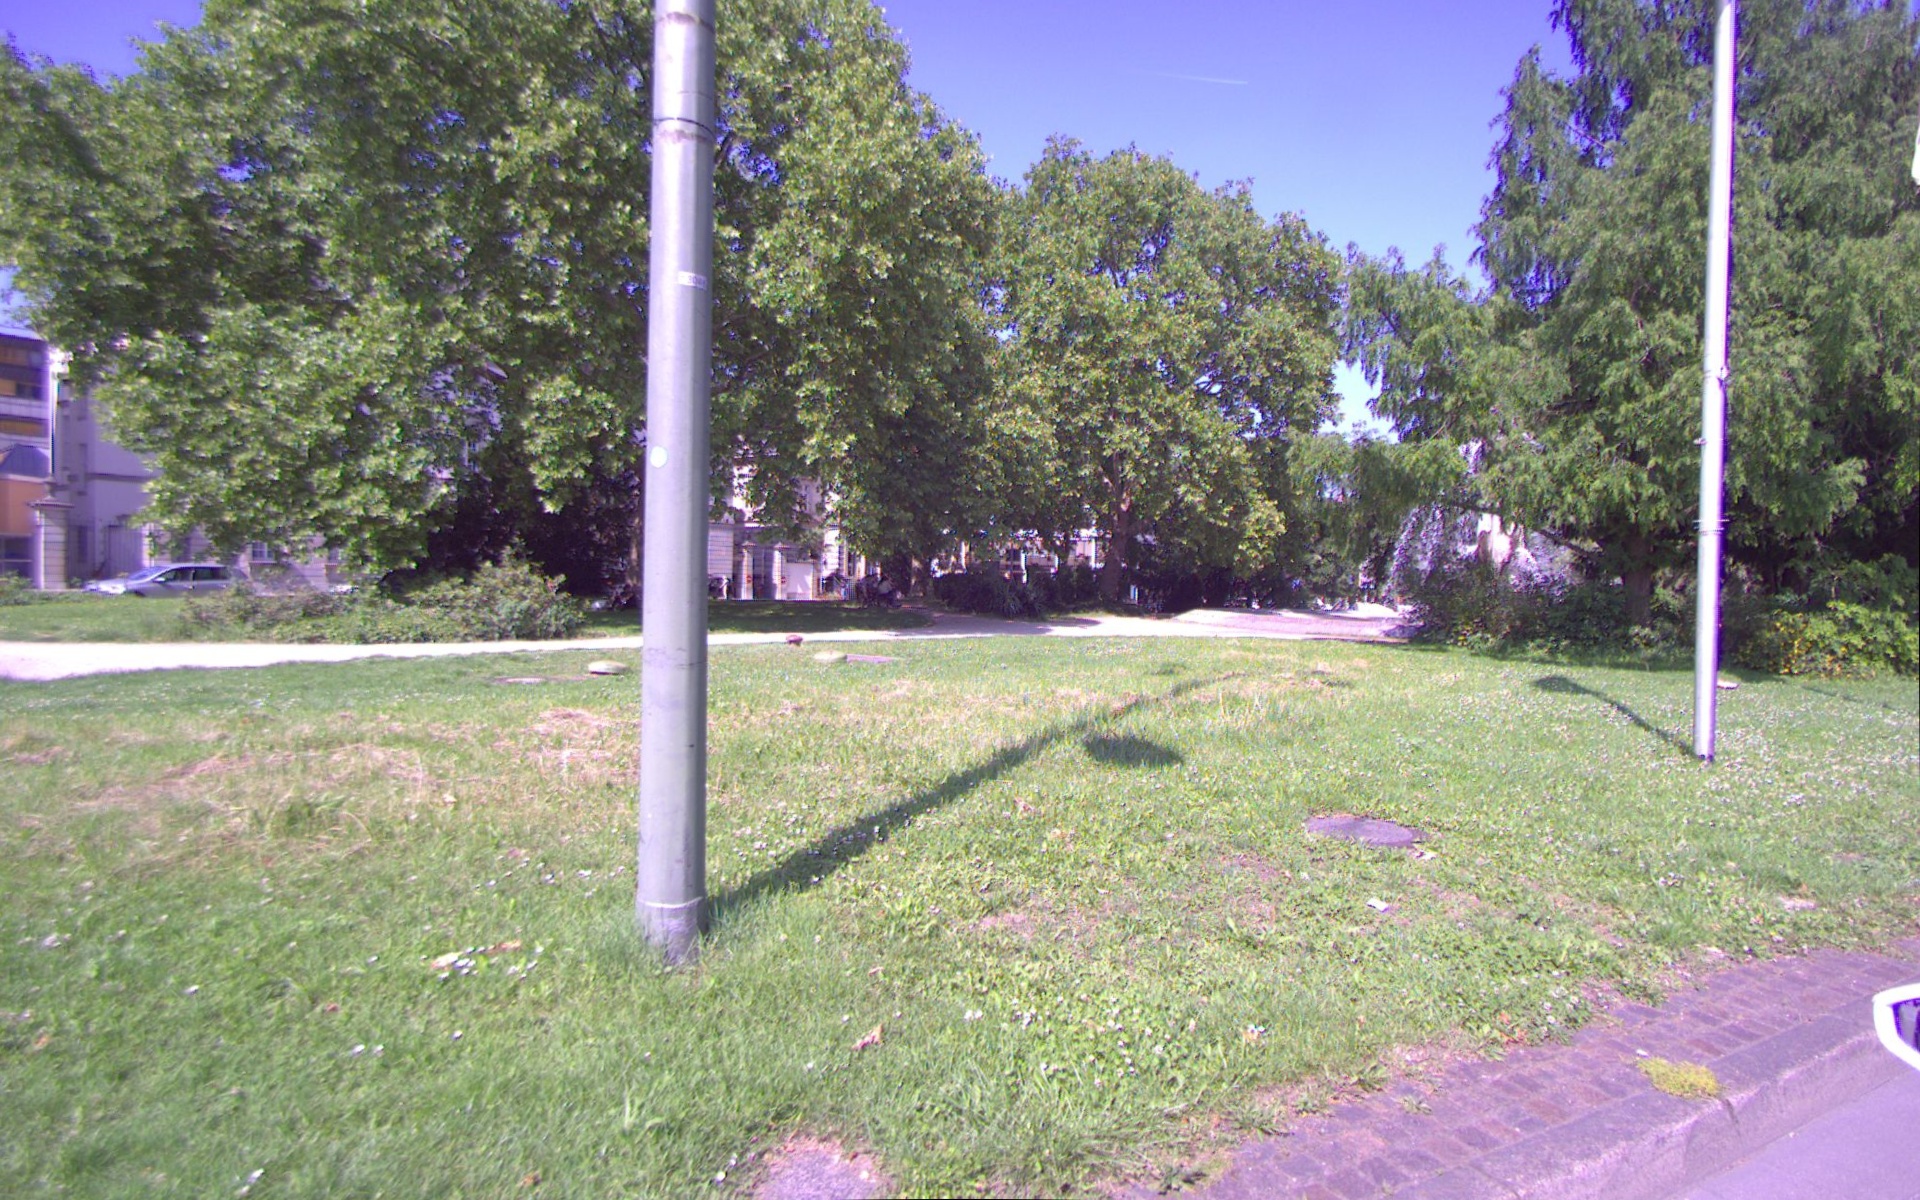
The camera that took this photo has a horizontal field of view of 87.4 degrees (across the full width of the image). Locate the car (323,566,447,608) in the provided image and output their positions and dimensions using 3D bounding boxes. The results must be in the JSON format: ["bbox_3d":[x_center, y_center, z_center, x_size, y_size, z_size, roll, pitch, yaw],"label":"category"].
[{"bbox_3d":[-20.777,-0.450,36.411,1.584,1.398,3.576,3,2,32],"label":"car"}]

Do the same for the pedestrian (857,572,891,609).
[{"bbox_3d":[-3.043,-0.338,35.366,1.041,1.242,0.753,2,2,-17],"label":"pedestrian"}]

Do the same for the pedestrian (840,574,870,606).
[{"bbox_3d":[-4.177,-0.396,39.903,1.041,1.242,0.753,2,2,-17],"label":"pedestrian"}]

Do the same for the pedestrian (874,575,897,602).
[{"bbox_3d":[-3.560,-0.535,48.029,1.037,1.242,0.756,2,2,1],"label":"pedestrian"}]

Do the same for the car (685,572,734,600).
[{"bbox_3d":[-17.090,-0.940,68.827,1.841,1.824,4.002,2,0,8],"label":"car"}]

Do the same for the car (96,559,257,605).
[{"bbox_3d":[-23.949,-0.544,30.825,1.584,1.286,3.576,3,2,32],"label":"car"}]

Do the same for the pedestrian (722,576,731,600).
[{"bbox_3d":[-15.863,-0.808,68.215,0.486,1.646,0.376,1,1,-30],"label":"pedestrian"}]

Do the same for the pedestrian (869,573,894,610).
[{"bbox_3d":[-2.700,-0.292,34.554,0.659,1.242,0.753,1,2,-17],"label":"pedestrian"}]

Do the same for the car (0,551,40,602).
[{"bbox_3d":[-26.973,-0.654,26.600,1.584,1.364,3.576,3,2,32],"label":"car"}]

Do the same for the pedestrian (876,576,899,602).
[{"bbox_3d":[-3.510,-0.537,48.866,1.037,1.242,0.756,2,2,1],"label":"pedestrian"}]
